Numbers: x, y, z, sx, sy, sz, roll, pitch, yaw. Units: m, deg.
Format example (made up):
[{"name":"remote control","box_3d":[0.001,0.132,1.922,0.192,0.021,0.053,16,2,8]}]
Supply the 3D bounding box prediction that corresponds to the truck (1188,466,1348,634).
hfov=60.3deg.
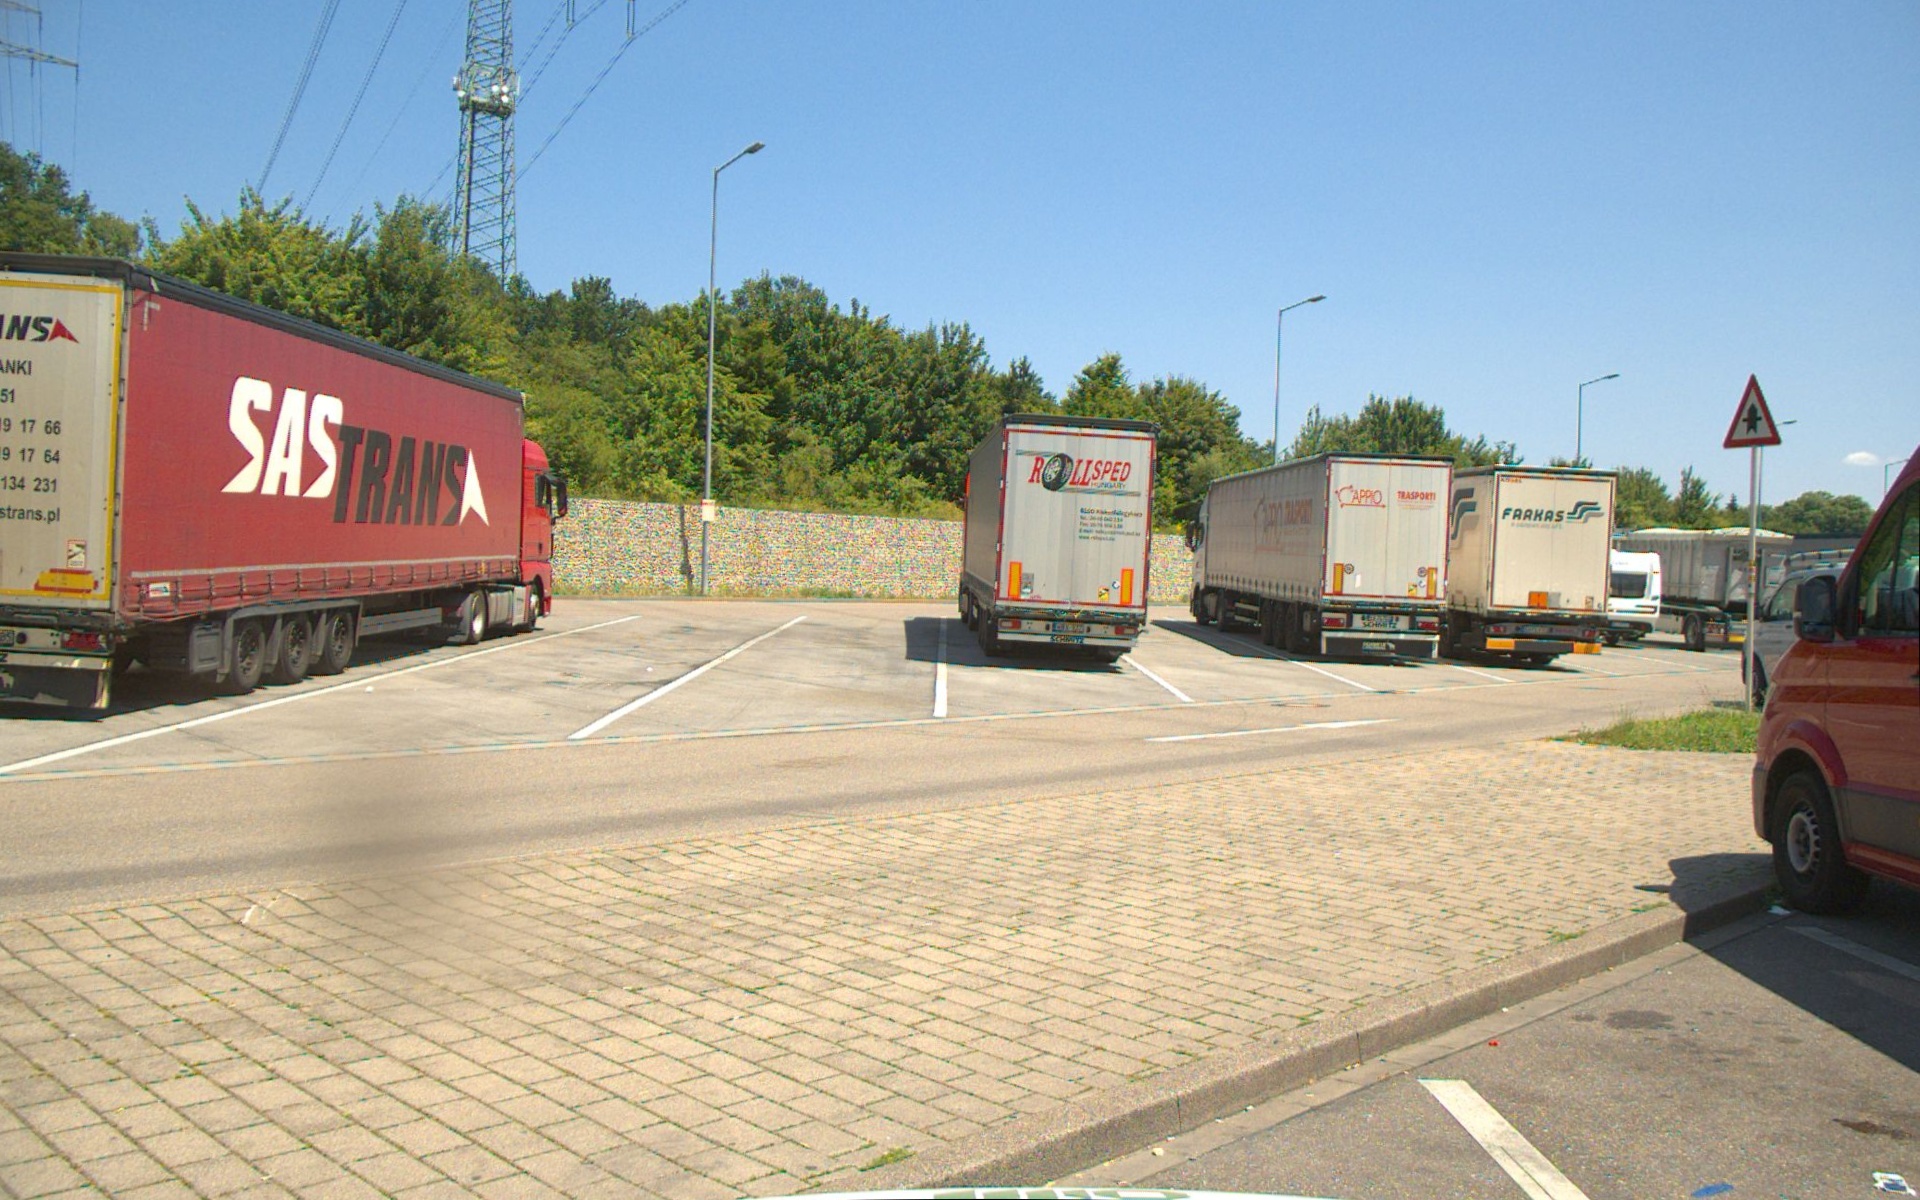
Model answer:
[{"name":"truck","box_3d":[8.165,-1.389,44.735,2.808,4.107,6.956,2,2,-1]}]

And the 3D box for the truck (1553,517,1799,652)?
[{"name":"truck","box_3d":[21.747,-0.658,51.243,2.437,3.630,11.423,2,2,-1]}]

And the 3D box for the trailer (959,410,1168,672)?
[{"name":"trailer","box_3d":[1.653,-1.242,33.669,2.809,4.107,14.238,2,2,-2]}]

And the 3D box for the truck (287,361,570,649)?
[{"name":"truck","box_3d":[-8.699,-1.527,27.877,2.641,4.184,6.239,2,2,0]}]

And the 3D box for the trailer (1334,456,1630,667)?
[{"name":"trailer","box_3d":[11.821,-1.030,39.221,2.808,4.107,12.438,2,2,-1]}]

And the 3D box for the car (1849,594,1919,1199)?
[{"name":"car","box_3d":[2.539,0.791,1.111,1.584,1.509,3.762,1,1,-6]}]

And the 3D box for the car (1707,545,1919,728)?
[{"name":"car","box_3d":[12.120,0.410,22.372,1.951,2.187,5.316,0,0,4]}]

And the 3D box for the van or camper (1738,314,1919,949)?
[{"name":"van or camper","box_3d":[4.989,0.169,5.559,1.954,2.700,6.482,1,1,3]}]

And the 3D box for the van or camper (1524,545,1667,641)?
[{"name":"van or camper","box_3d":[18.268,-0.239,47.831,2.061,2.606,5.372,1,1,0]}]

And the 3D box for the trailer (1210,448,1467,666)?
[{"name":"trailer","box_3d":[8.245,-1.094,38.104,2.808,4.107,12.438,2,2,-1]}]

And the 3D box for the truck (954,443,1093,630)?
[{"name":"truck","box_3d":[1.423,-1.568,40.749,2.809,4.107,7.026,2,2,-2]}]

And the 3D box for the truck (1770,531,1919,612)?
[{"name":"truck","box_3d":[34.701,-1.081,63.635,2.082,2.869,9.777,1,1,-1]}]

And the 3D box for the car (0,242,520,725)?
[{"name":"car","box_3d":[-8.677,-1.279,20.960,2.641,4.184,12.935,2,2,0]}]

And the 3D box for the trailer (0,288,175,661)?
[{"name":"trailer","box_3d":[-12.548,-1.403,17.161,2.756,4.341,12.940,2,2,-1]}]
